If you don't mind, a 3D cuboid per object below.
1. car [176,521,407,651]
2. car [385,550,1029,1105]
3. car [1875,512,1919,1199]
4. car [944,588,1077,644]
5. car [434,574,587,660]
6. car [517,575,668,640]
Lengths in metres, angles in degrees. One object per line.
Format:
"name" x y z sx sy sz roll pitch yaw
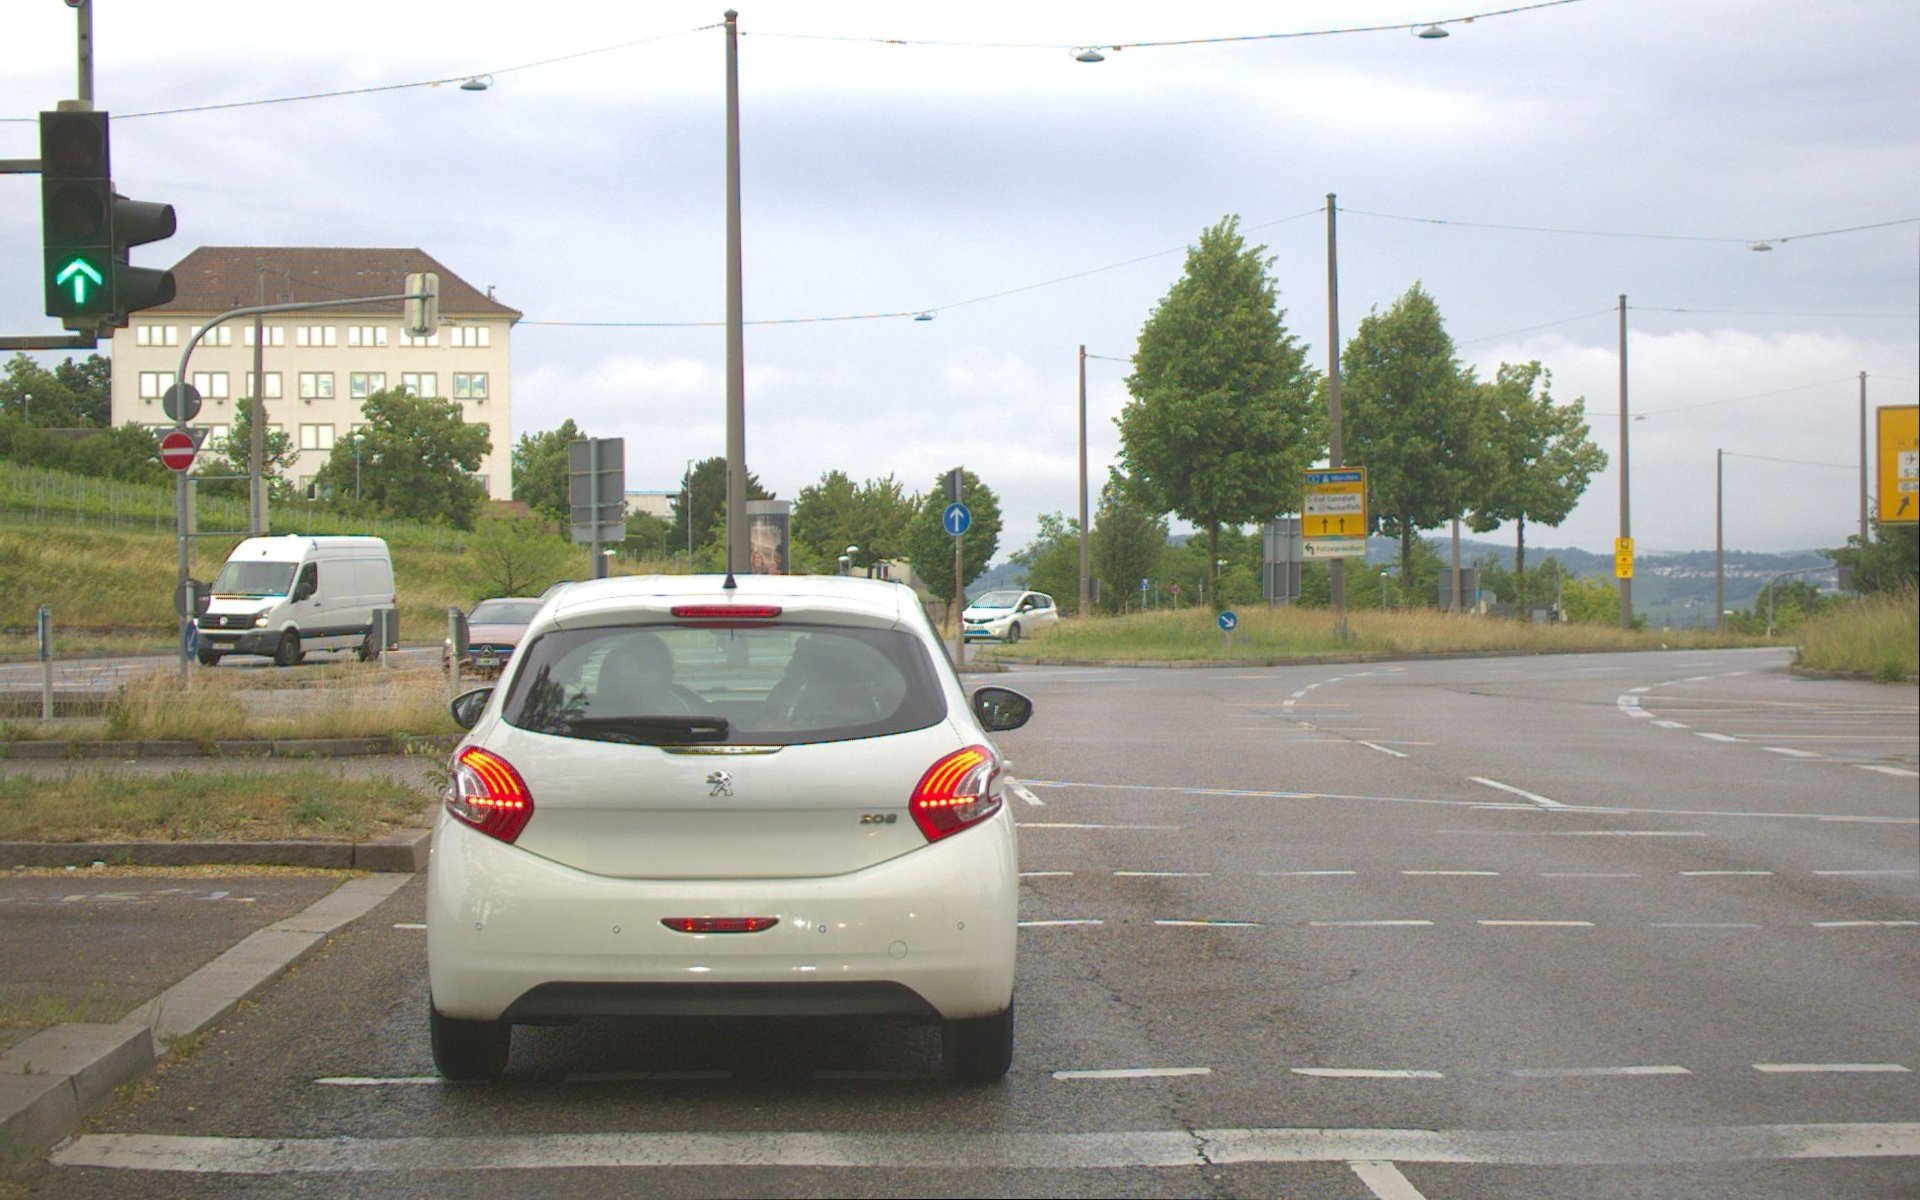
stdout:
"car" -13.753 -0.261 71.171 1.995 2.550 6.164 1 0 17
"car" -0.739 0.610 11.231 1.717 1.484 4.000 0 0 -2
"car" 2.601 0.673 3.907 1.884 1.590 4.114 1 0 -2
"car" 1.453 0.461 97.569 1.754 1.507 3.991 1 0 36
"car" -7.764 0.290 59.749 1.776 1.420 4.373 -1 0 4
"car" -8.994 0.196 84.465 1.996 1.507 4.227 1 0 21
